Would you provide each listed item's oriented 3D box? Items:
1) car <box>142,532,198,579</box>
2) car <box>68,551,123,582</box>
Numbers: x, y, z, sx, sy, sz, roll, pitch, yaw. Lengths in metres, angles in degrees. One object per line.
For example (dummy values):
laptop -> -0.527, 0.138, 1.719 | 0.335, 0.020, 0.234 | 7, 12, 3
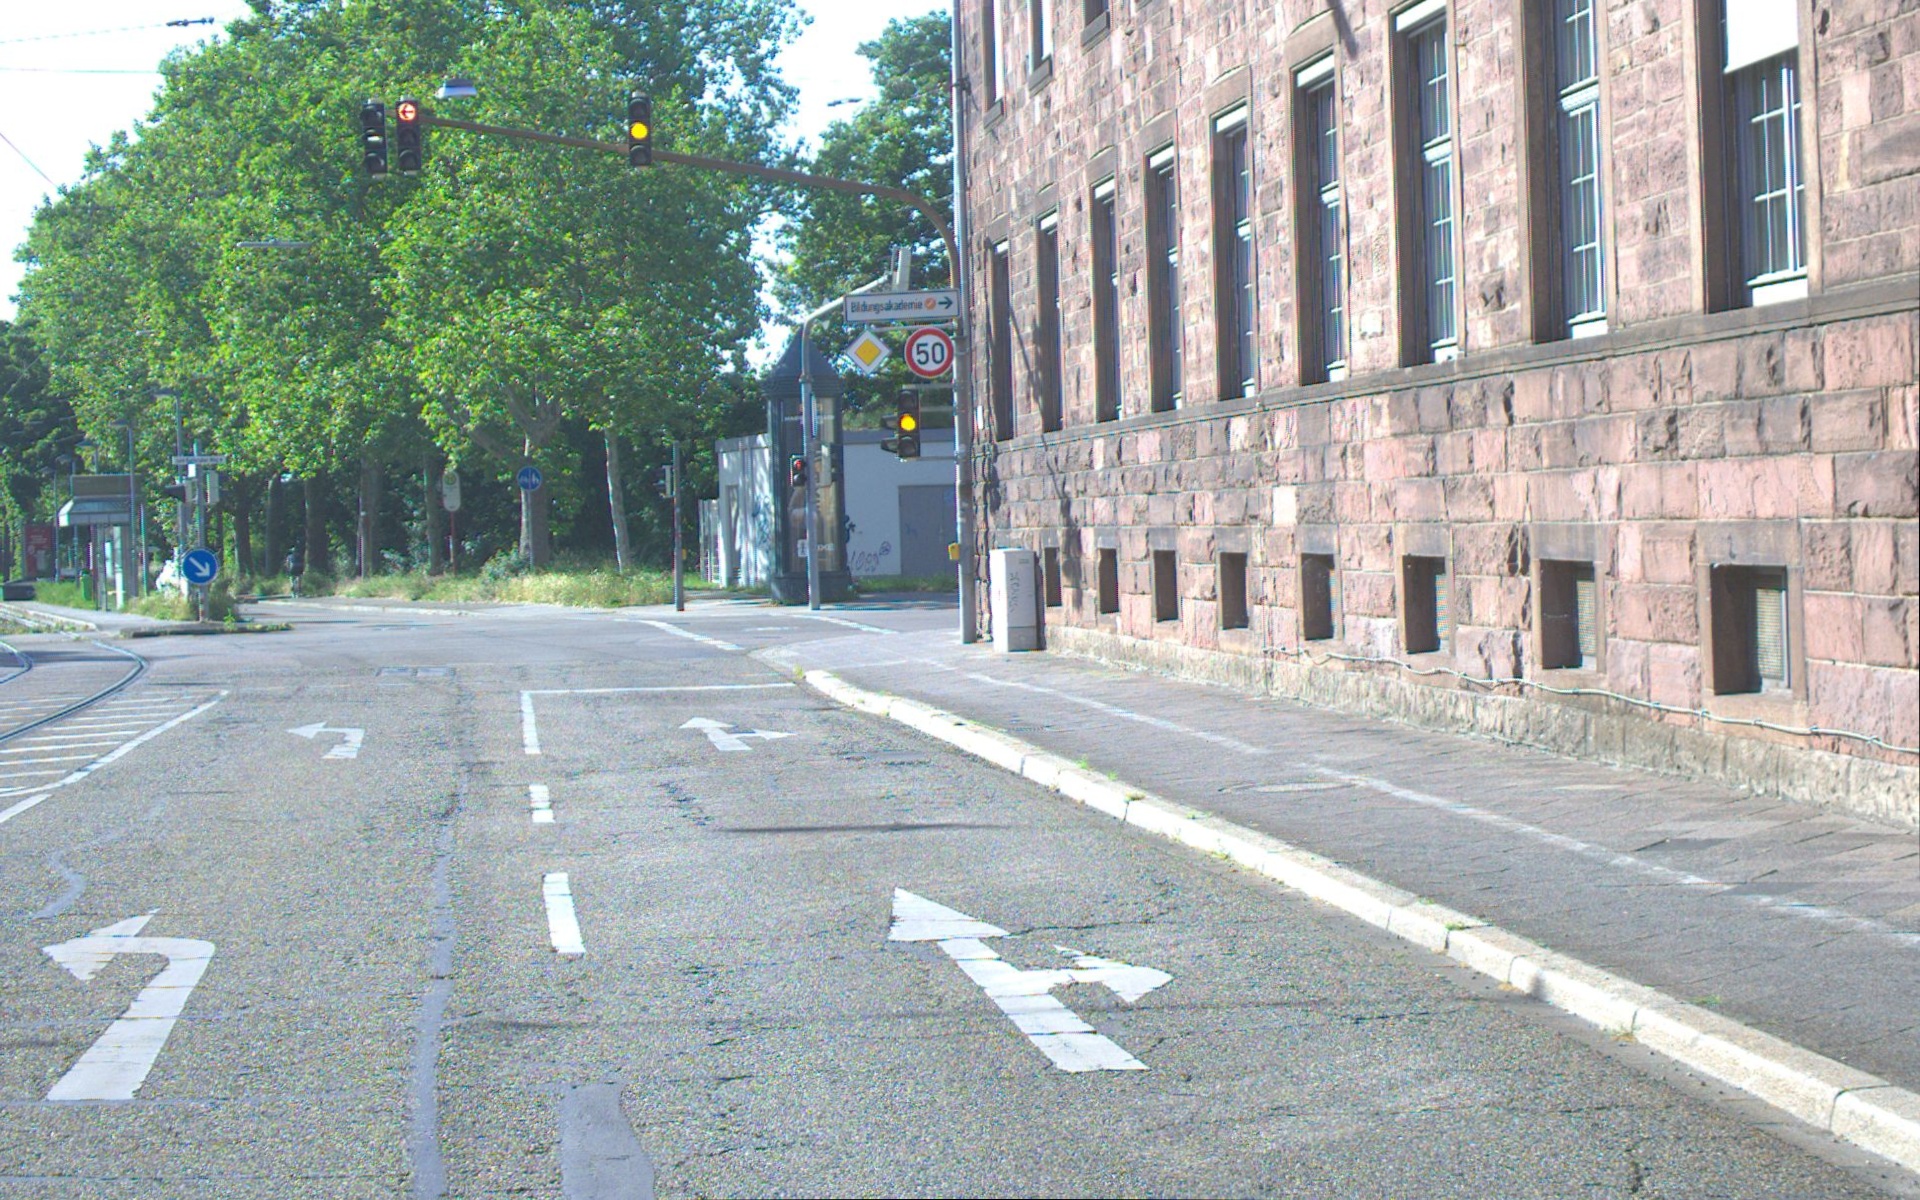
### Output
car -> -29.240, -1.661, 127.300 | 1.942, 1.605, 4.001 | -2, 2, -13
car -> -47.189, -1.844, 187.549 | 1.942, 1.605, 4.000 | -3, 2, -28
